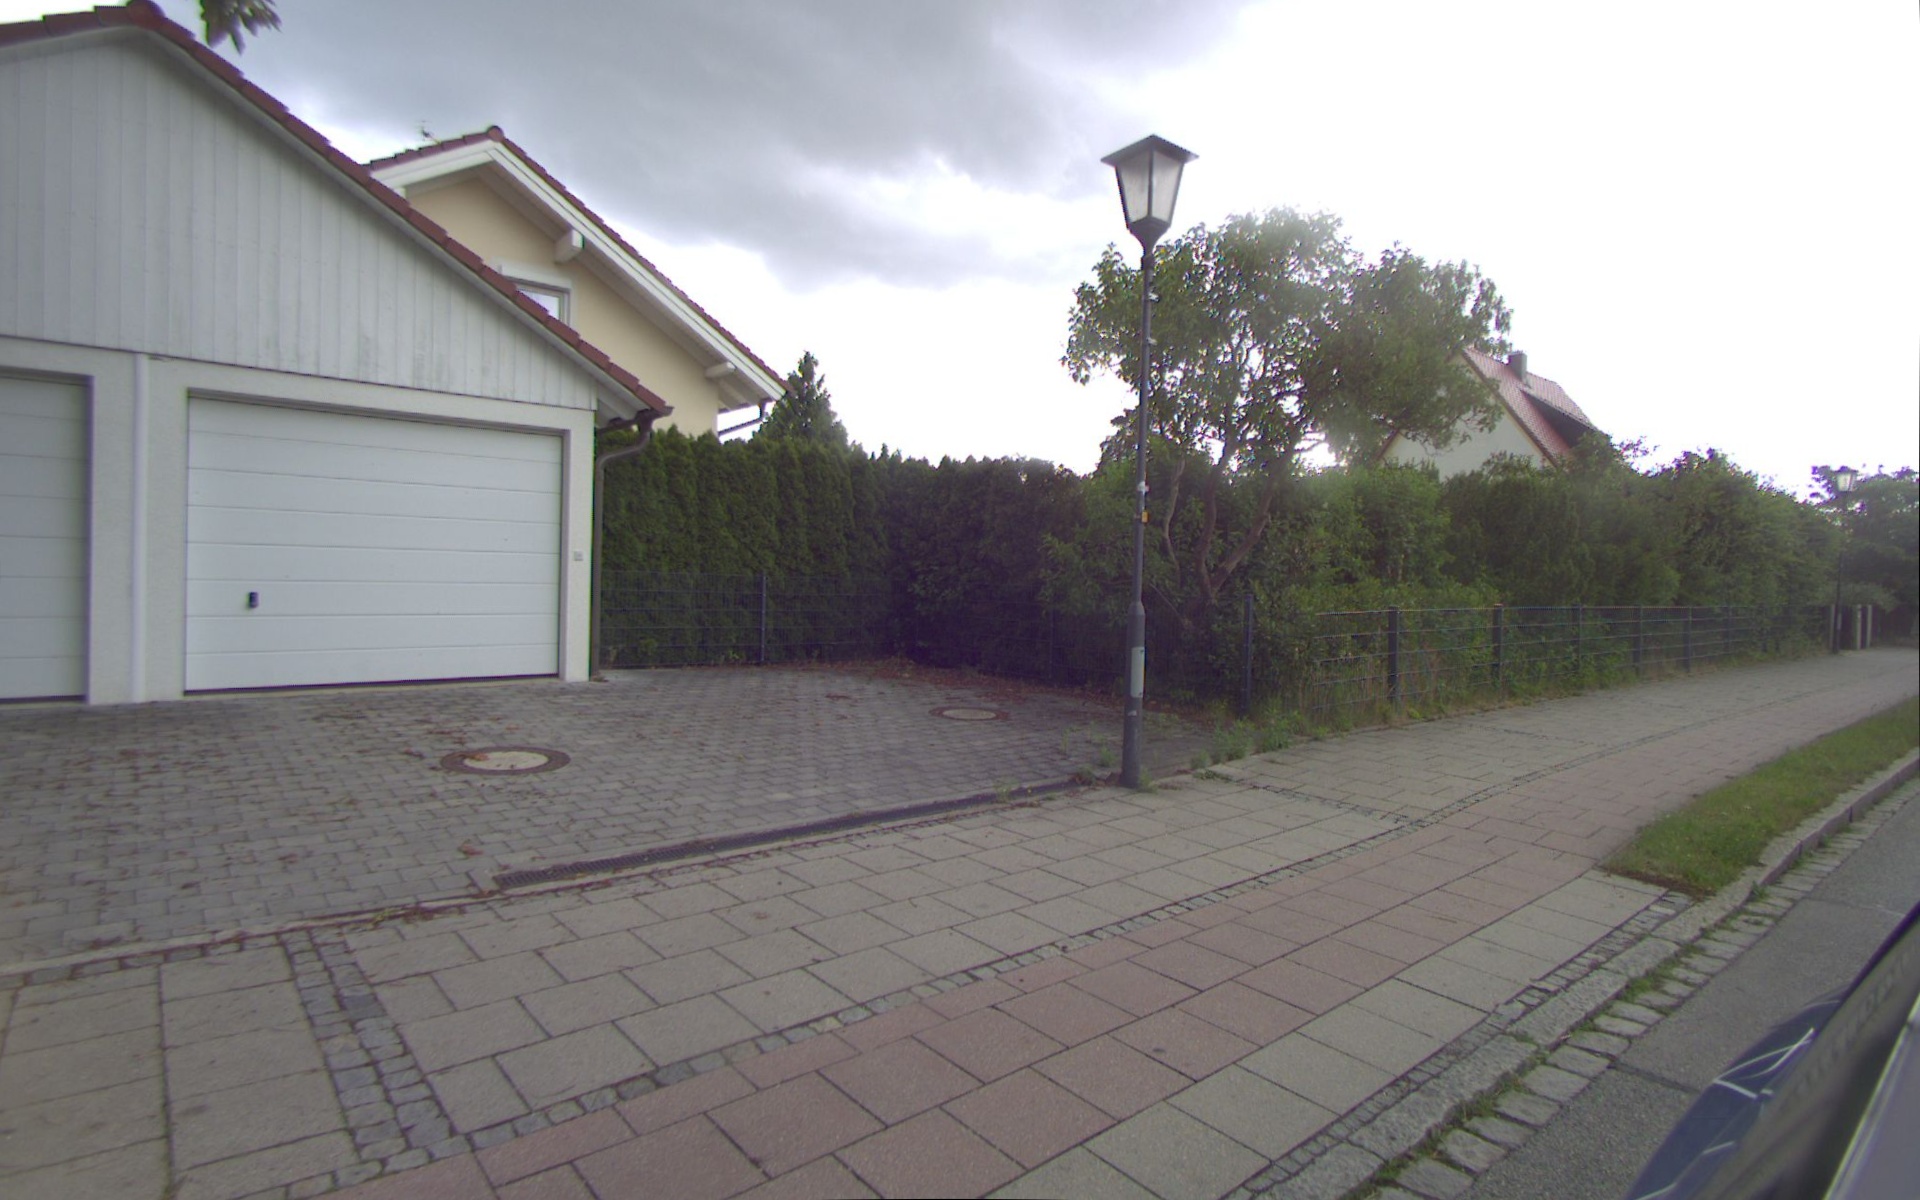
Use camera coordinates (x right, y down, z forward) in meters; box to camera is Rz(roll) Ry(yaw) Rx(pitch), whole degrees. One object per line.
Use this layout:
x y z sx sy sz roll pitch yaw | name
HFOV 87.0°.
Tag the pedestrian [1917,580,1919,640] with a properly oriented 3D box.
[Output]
26.468 0.278 27.367 0.660 1.622 0.791 0 1 -43 | pedestrian
